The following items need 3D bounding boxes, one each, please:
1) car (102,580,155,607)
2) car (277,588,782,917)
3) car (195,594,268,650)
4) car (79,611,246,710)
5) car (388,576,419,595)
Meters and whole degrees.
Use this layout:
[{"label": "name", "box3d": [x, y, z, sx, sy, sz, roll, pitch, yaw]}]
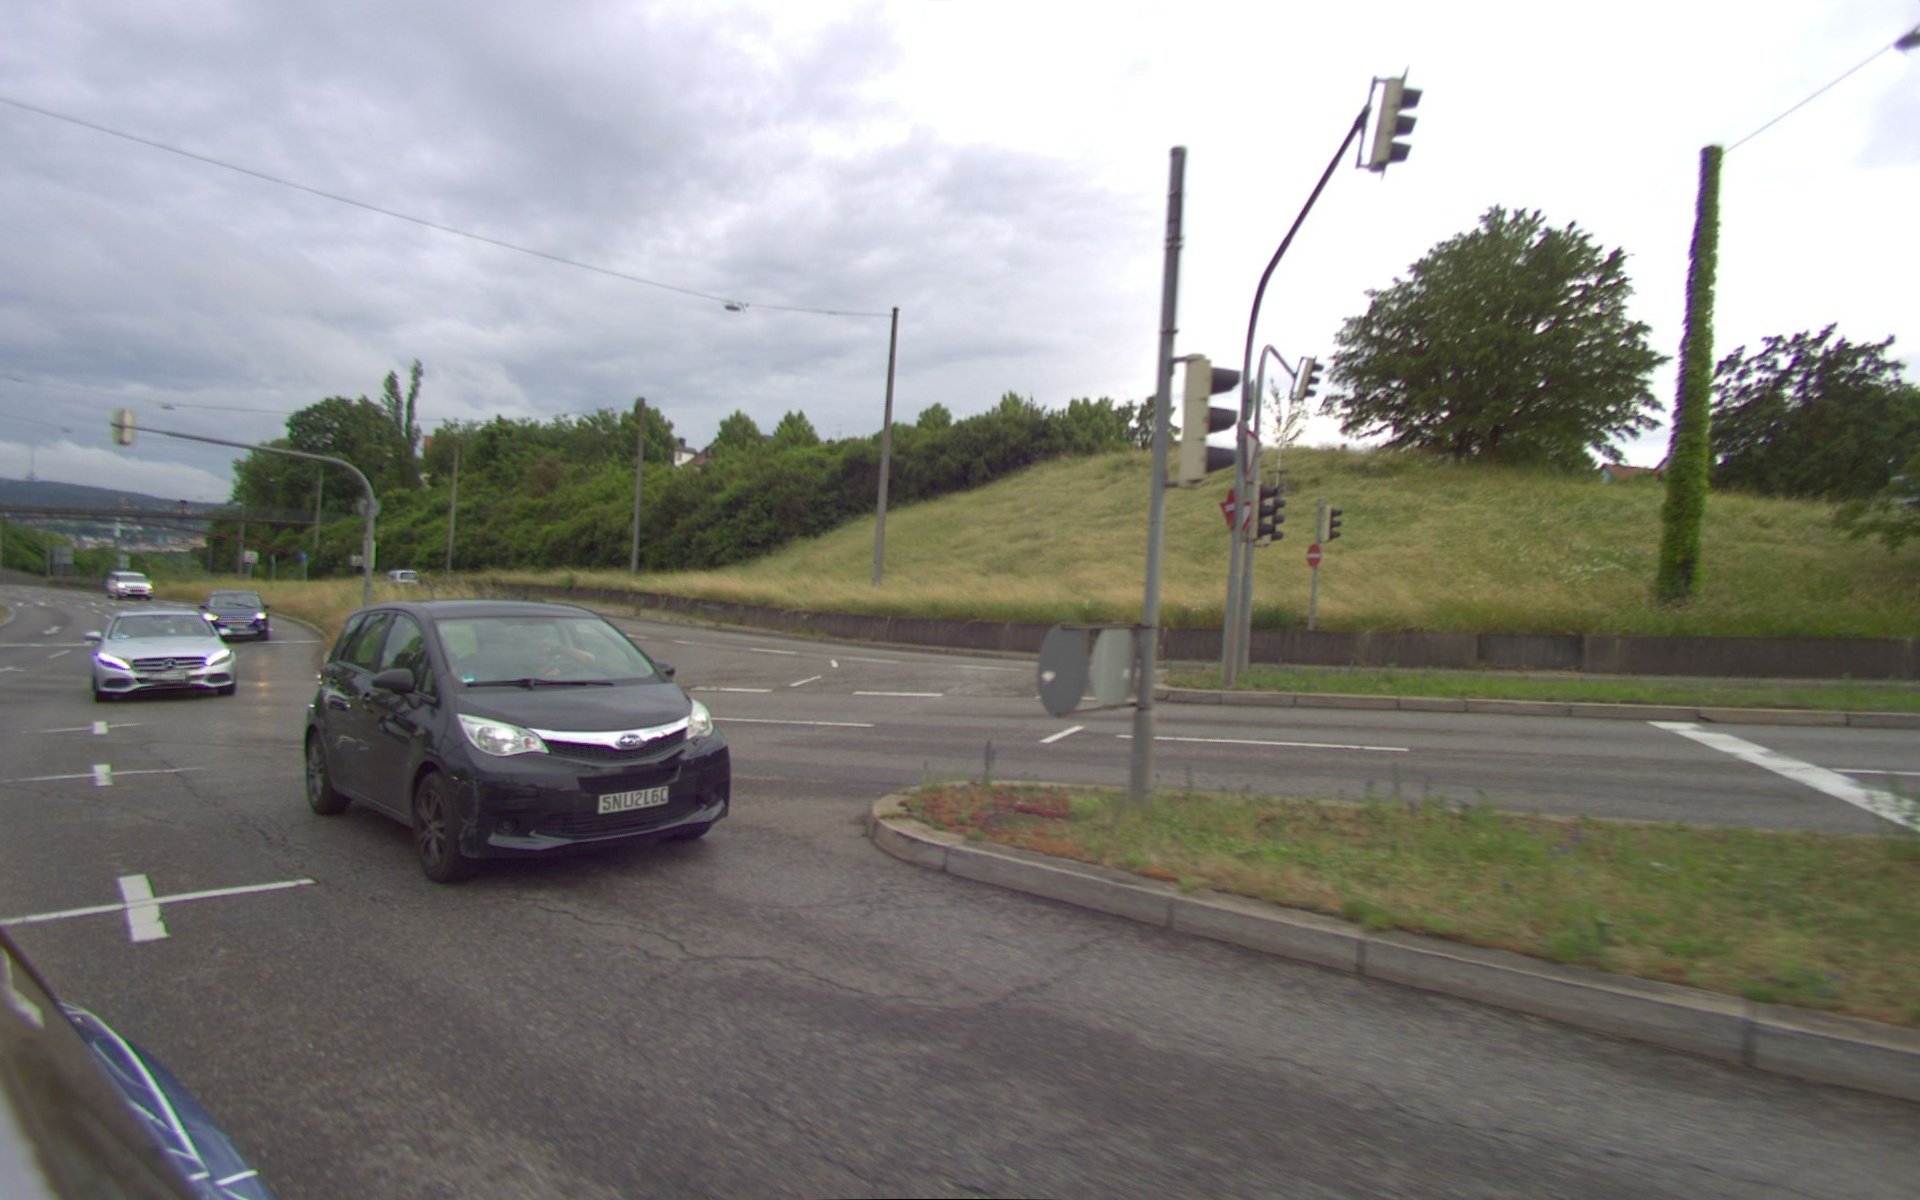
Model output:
[{"label": "car", "box3d": [-55.011, -0.434, 66.941, 4.285, 1.705, 1.974, 0, 0, 40]}, {"label": "car", "box3d": [-3.140, 0.749, 6.927, 4.045, 1.577, 1.775, 0, -1, 45]}, {"label": "car", "box3d": [-24.648, 0.700, 34.245, 1.897, 1.748, 4.035, 0, 0, -36]}, {"label": "car", "box3d": [-13.825, 0.928, 17.433, 1.969, 1.418, 4.530, 0, 0, -42]}, {"label": "car", "box3d": [-42.869, -1.126, 77.911, 1.537, 1.443, 3.236, -2, 2, -39]}]
